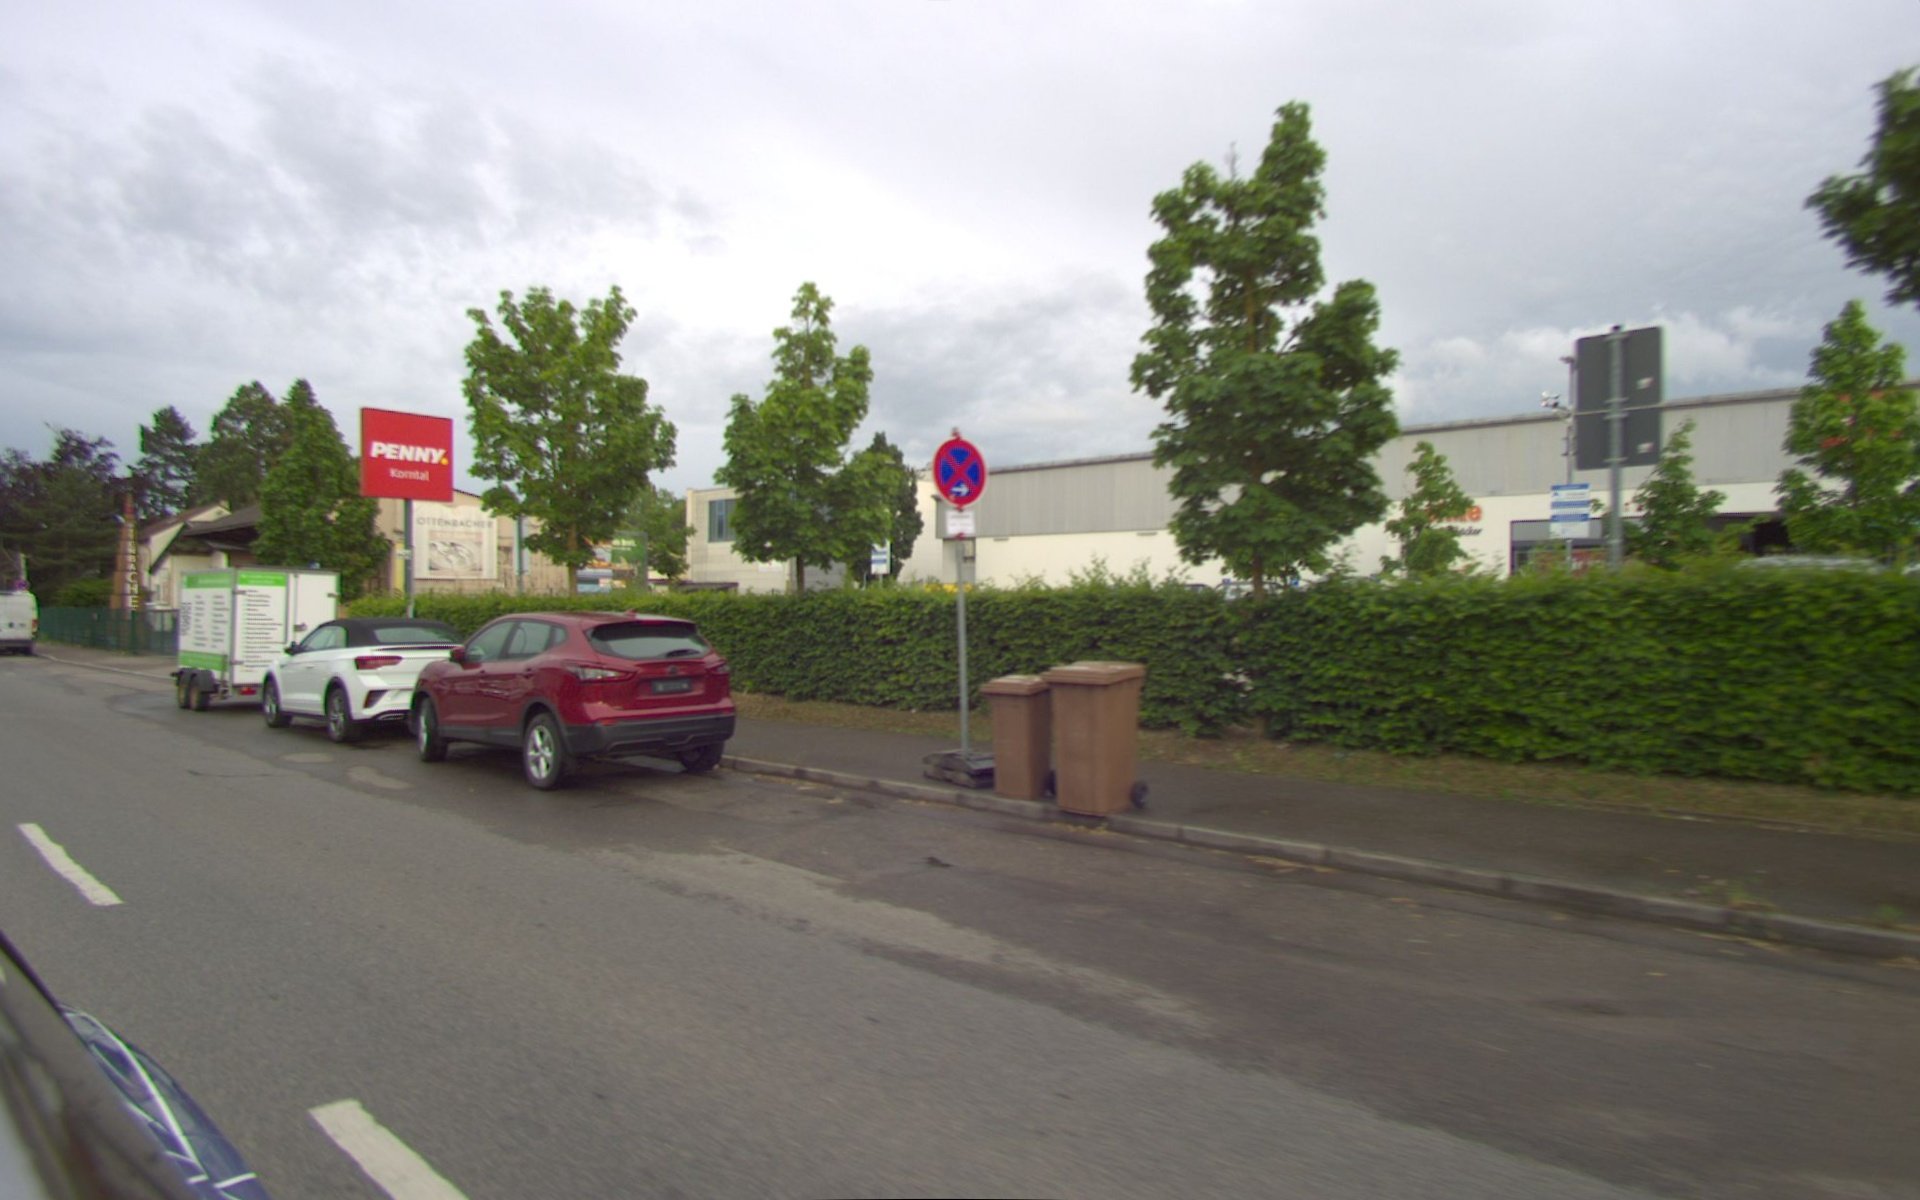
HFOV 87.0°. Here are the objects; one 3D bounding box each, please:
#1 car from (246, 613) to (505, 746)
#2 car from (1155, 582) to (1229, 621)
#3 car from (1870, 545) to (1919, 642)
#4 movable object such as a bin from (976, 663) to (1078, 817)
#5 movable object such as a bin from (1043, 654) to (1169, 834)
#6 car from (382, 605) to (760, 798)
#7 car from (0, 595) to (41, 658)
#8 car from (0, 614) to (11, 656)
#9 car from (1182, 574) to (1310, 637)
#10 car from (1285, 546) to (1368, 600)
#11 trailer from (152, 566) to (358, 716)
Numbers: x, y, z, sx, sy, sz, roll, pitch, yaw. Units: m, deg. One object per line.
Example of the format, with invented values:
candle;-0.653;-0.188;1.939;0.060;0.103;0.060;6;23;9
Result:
car;-7.988;0.970;13.680;4.133;1.510;1.754;-2;-1;40
car;10.290;0.051;44.718;1.659;1.618;3.687;0;1;41
car;16.856;-0.155;17.170;1.691;1.531;3.855;0;1;36
movable object such as a bin;0.521;1.066;7.931;0.485;1.090;0.621;-2;1;-45
movable object such as a bin;1.063;1.004;7.360;0.665;1.166;0.622;-2;1;-45
car;-4.145;0.875;10.433;4.339;1.585;1.787;-1;-1;40
car;-39.673;1.074;41.458;6.456;2.445;2.135;-1;-3;41
car;-44.008;1.502;45.290;4.444;1.782;1.751;0;-4;41
car;7.087;0.090;24.831;1.800;1.397;3.941;0;1;36
car;11.167;-0.791;30.727;1.451;1.507;3.857;-2;-1;34
trailer;-12.618;0.700;17.986;4.727;2.331;1.794;-1;-3;40
